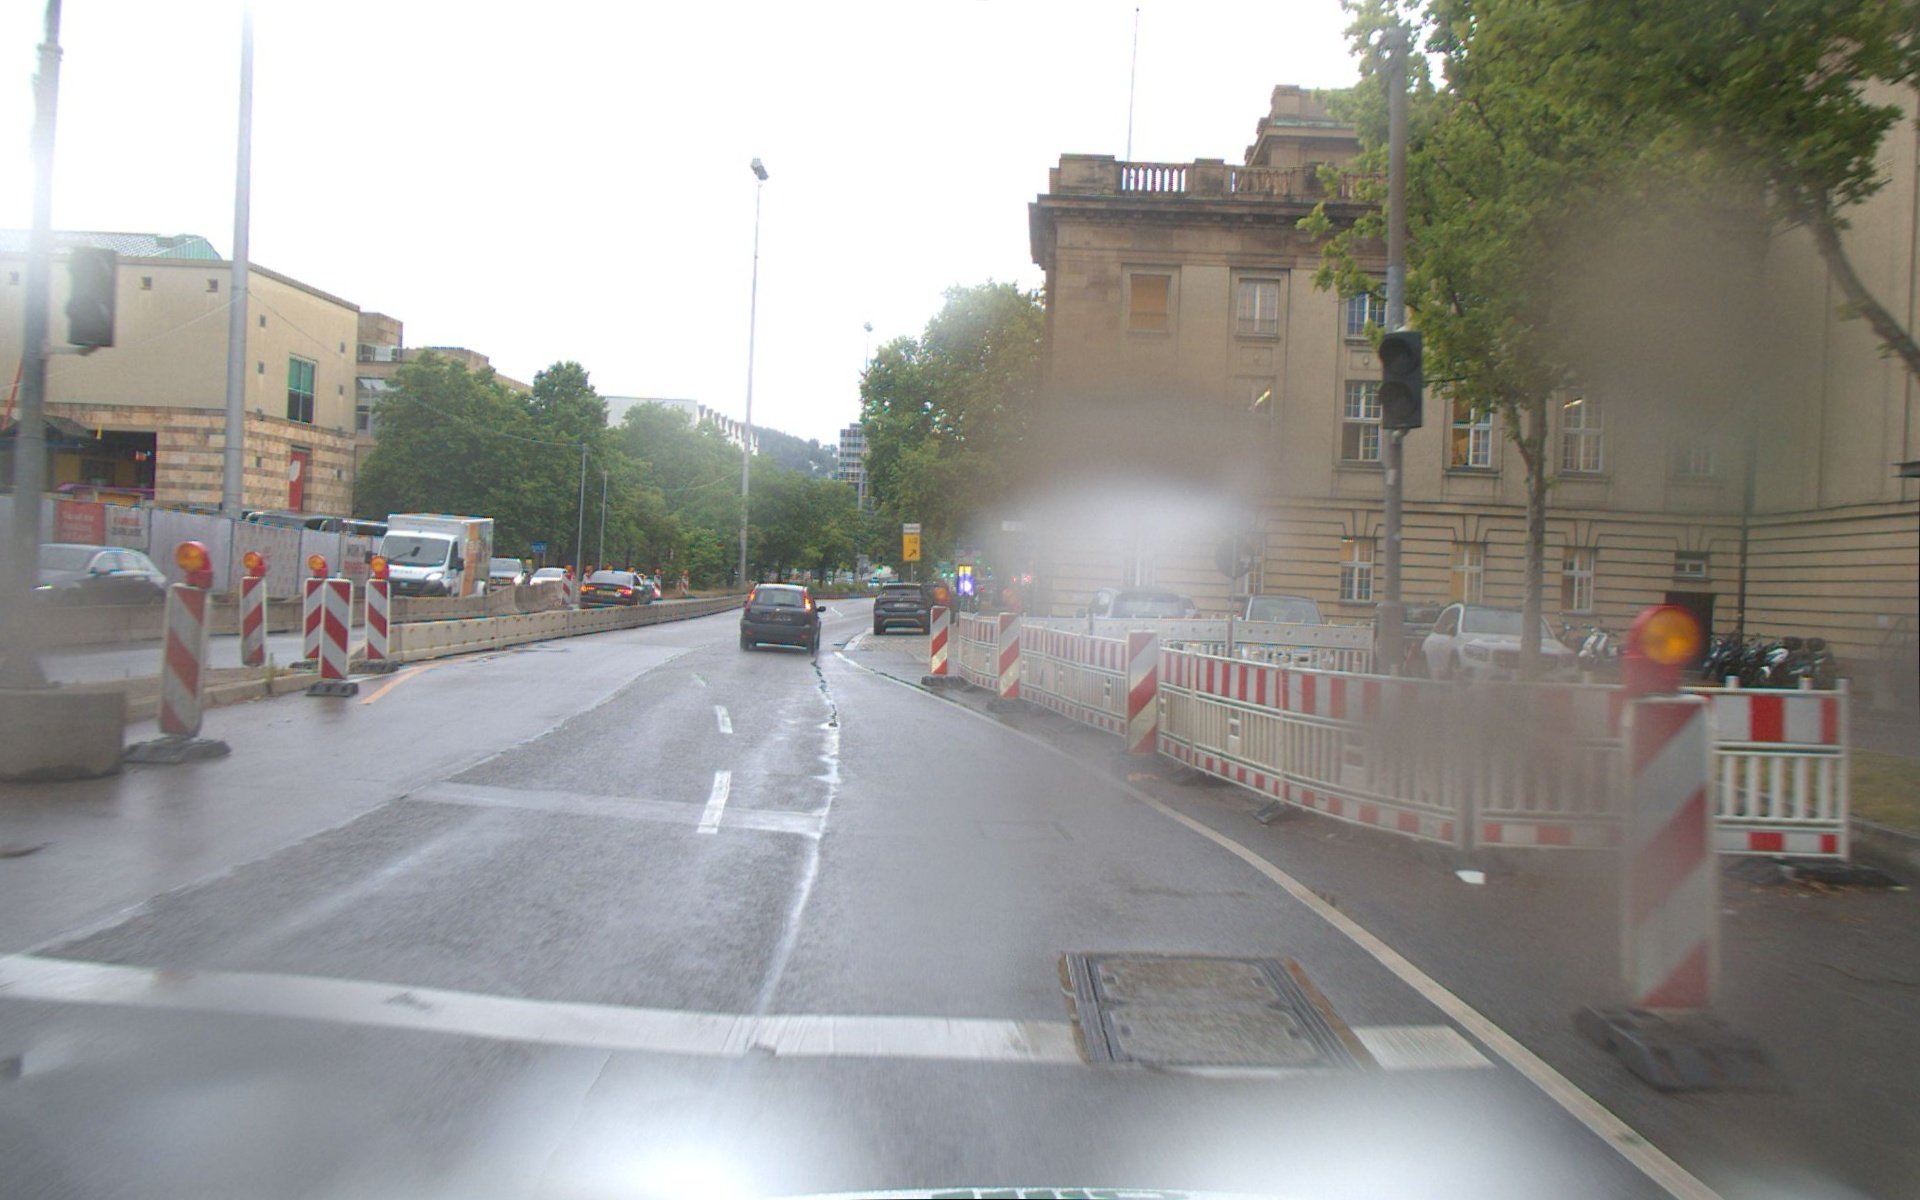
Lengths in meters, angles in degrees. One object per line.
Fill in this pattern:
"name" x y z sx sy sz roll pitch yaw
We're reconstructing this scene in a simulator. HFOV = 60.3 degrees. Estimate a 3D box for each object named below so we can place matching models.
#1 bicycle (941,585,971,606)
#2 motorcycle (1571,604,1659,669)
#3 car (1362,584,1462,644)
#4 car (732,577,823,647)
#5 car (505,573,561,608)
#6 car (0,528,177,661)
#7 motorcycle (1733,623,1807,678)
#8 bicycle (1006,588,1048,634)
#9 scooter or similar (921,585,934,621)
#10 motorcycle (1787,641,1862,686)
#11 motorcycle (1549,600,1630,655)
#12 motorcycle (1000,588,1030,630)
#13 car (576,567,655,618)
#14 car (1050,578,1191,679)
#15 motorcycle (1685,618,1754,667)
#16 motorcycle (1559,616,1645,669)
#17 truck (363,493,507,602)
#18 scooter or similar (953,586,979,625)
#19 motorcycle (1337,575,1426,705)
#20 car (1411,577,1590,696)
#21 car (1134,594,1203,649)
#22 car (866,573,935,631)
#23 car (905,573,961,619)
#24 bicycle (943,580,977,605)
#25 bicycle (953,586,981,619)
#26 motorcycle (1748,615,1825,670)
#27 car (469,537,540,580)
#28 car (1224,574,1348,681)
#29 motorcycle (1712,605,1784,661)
"bicycle" -0.238 -0.253 95.220 1.644 1.109 0.651 3 0 4
"motorcycle" 17.497 0.965 44.238 1.930 1.571 0.850 4 2 3
"car" 12.900 0.367 47.493 1.780 1.566 4.510 2 1 2
"car" -4.097 0.257 36.630 1.810 1.441 3.831 1 0 -9
"car" -20.811 -0.489 80.730 1.955 1.556 3.996 2 1 -6
"car" -15.264 -0.084 27.901 1.869 2.049 4.757 1 0 -1
"motorcycle" 21.908 1.360 44.762 1.626 1.431 0.735 2 0 6
"bicycle" 2.040 0.321 50.690 1.080 1.340 1.858 3 0 -2
"scooter or similar" -1.090 0.100 56.116 0.425 1.238 1.122 0 0 -1
"motorcycle" 22.156 1.625 42.414 1.626 1.088 0.480 2 0 6
"motorcycle" 17.917 0.778 47.111 1.930 1.499 0.887 2 0 3
"motorcycle" 1.783 0.289 53.382 0.790 1.321 1.800 3 0 5
"car" -10.675 -0.223 51.420 1.719 1.477 3.998 2 0 -2
"car" 2.643 0.462 27.990 1.654 1.520 3.617 3 0 -6
"motorcycle" 21.912 1.222 47.748 1.626 1.362 0.735 2 0 6
"motorcycle" 17.573 1.165 45.281 1.931 1.217 0.850 6 1 3
"truck" -14.783 -1.457 47.103 2.351 2.766 7.346 2 1 -6
"scooter or similar" 0.213 0.190 57.392 0.427 1.315 1.250 3 0 -22
"motorcycle" 6.632 0.602 26.152 0.733 1.937 2.590 1 0 1
"car" 8.647 0.538 26.850 1.913 1.713 4.495 2 0 7
"car" 5.923 0.583 47.270 1.489 1.435 4.128 2 0 1
"car" -1.772 0.027 50.865 1.832 1.647 4.405 2 1 1
"car" -1.118 -0.170 71.082 1.952 1.812 4.190 3 0 4
"bicycle" -0.018 -0.443 95.653 1.866 1.355 0.651 3 0 4
"bicycle" 0.257 0.083 63.752 0.761 1.240 1.961 1 0 -9
"motorcycle" 21.775 1.119 43.577 1.626 1.391 0.735 2 0 6
"car" -17.971 -1.636 65.454 1.883 1.556 4.755 2 1 -6
"car" 5.151 0.426 26.428 1.548 1.564 3.022 2 0 4
"motorcycle" 21.934 0.899 46.051 1.626 1.499 0.735 2 0 6
